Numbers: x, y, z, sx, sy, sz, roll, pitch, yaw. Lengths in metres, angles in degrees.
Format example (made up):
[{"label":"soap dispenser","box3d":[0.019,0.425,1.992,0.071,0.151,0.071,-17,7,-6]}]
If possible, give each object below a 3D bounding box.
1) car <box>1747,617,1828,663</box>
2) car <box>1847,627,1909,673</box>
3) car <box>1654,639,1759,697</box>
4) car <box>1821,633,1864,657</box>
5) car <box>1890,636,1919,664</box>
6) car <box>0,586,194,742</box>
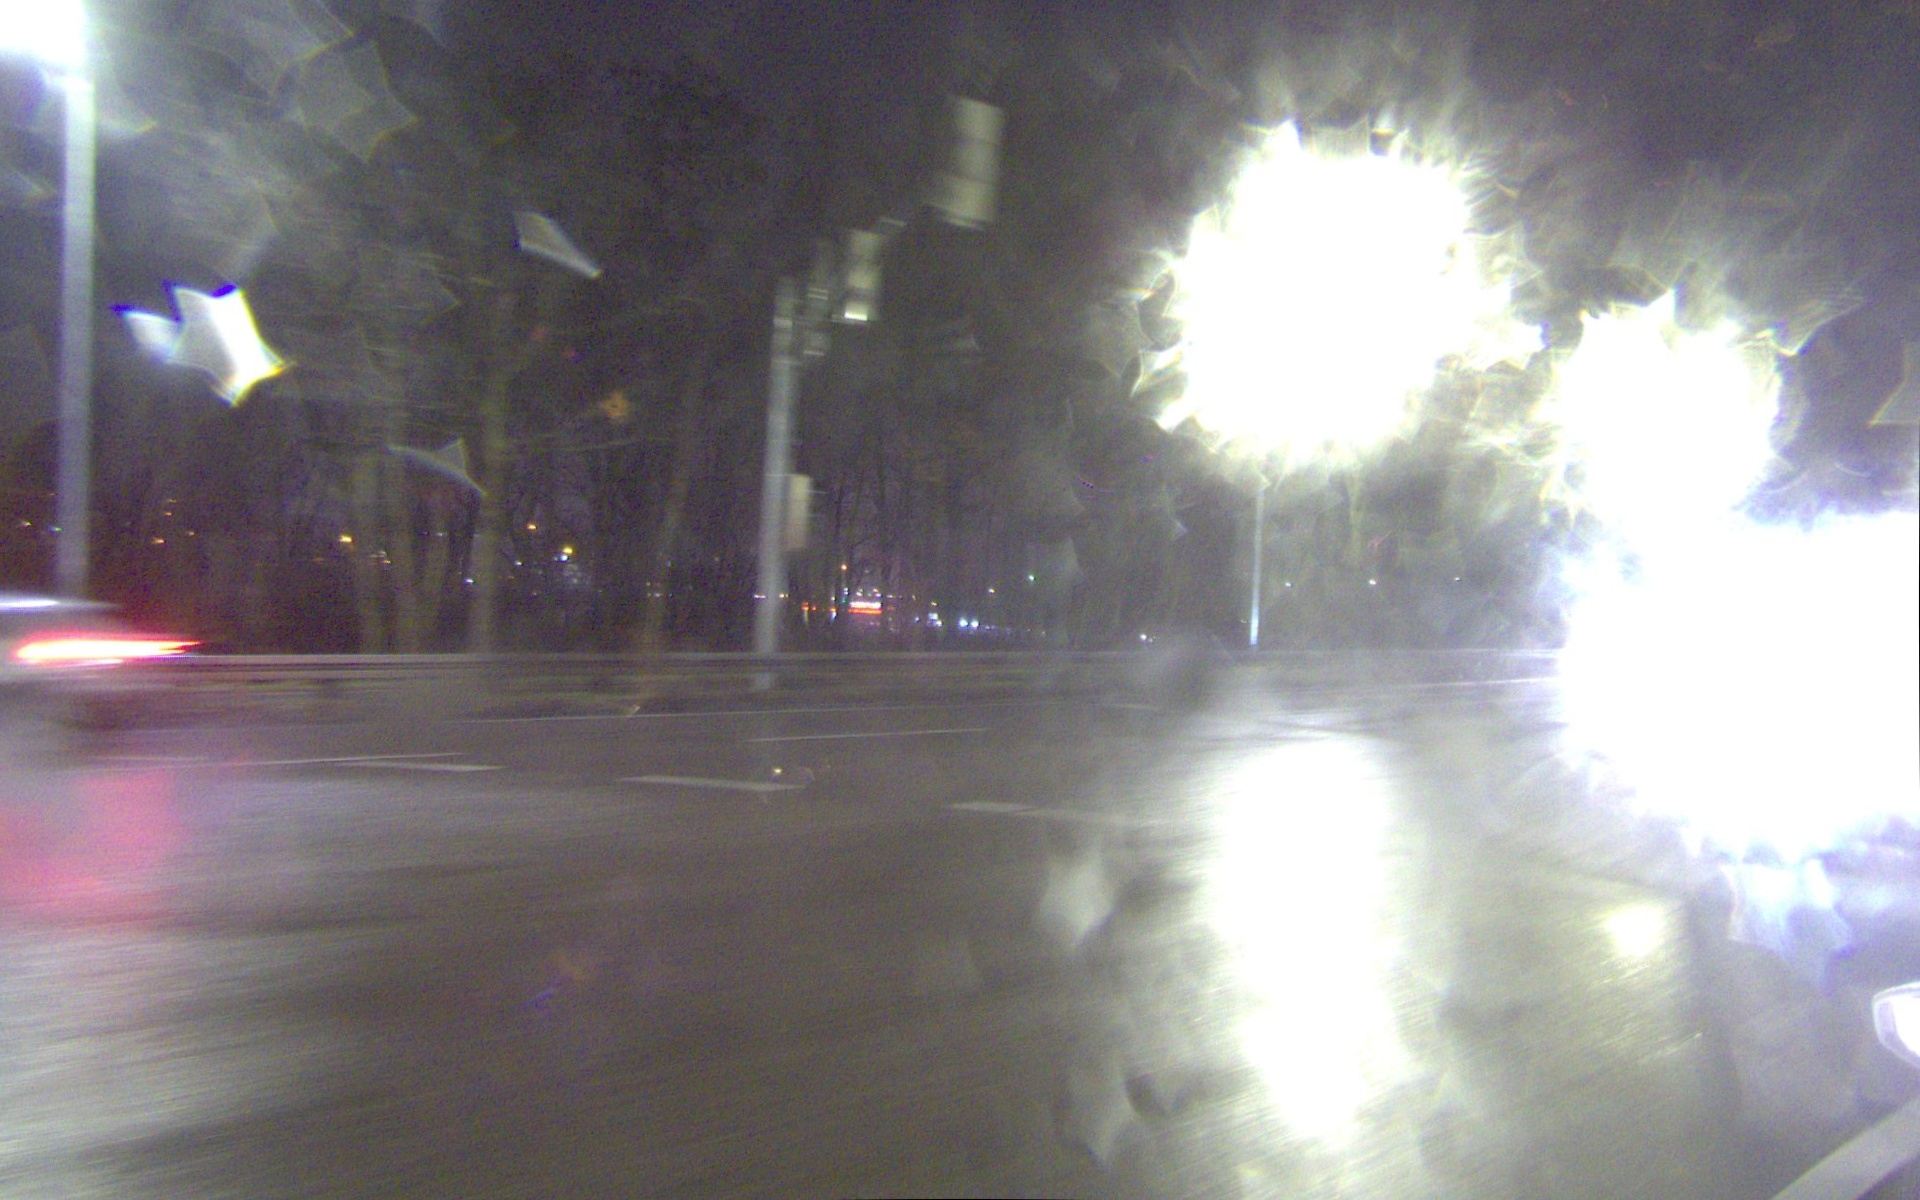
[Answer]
[{"label":"car","box3d":[32.110,1.508,38.928,4.628,1.628,1.862,1,0,-44]},{"label":"car","box3d":[44.368,2.396,48.632,1.970,2.040,4.328,2,-1,40]},{"label":"car","box3d":[22.226,1.986,29.848,4.630,1.467,1.805,3,0,-45]},{"label":"car","box3d":[65.099,3.300,74.127,1.791,1.639,3.989,3,0,34]},{"label":"car","box3d":[58.457,3.081,61.400,1.792,1.639,3.986,3,0,36]},{"label":"car","box3d":[-9.710,0.596,9.130,4.092,1.370,1.800,1,-4,-29]}]
